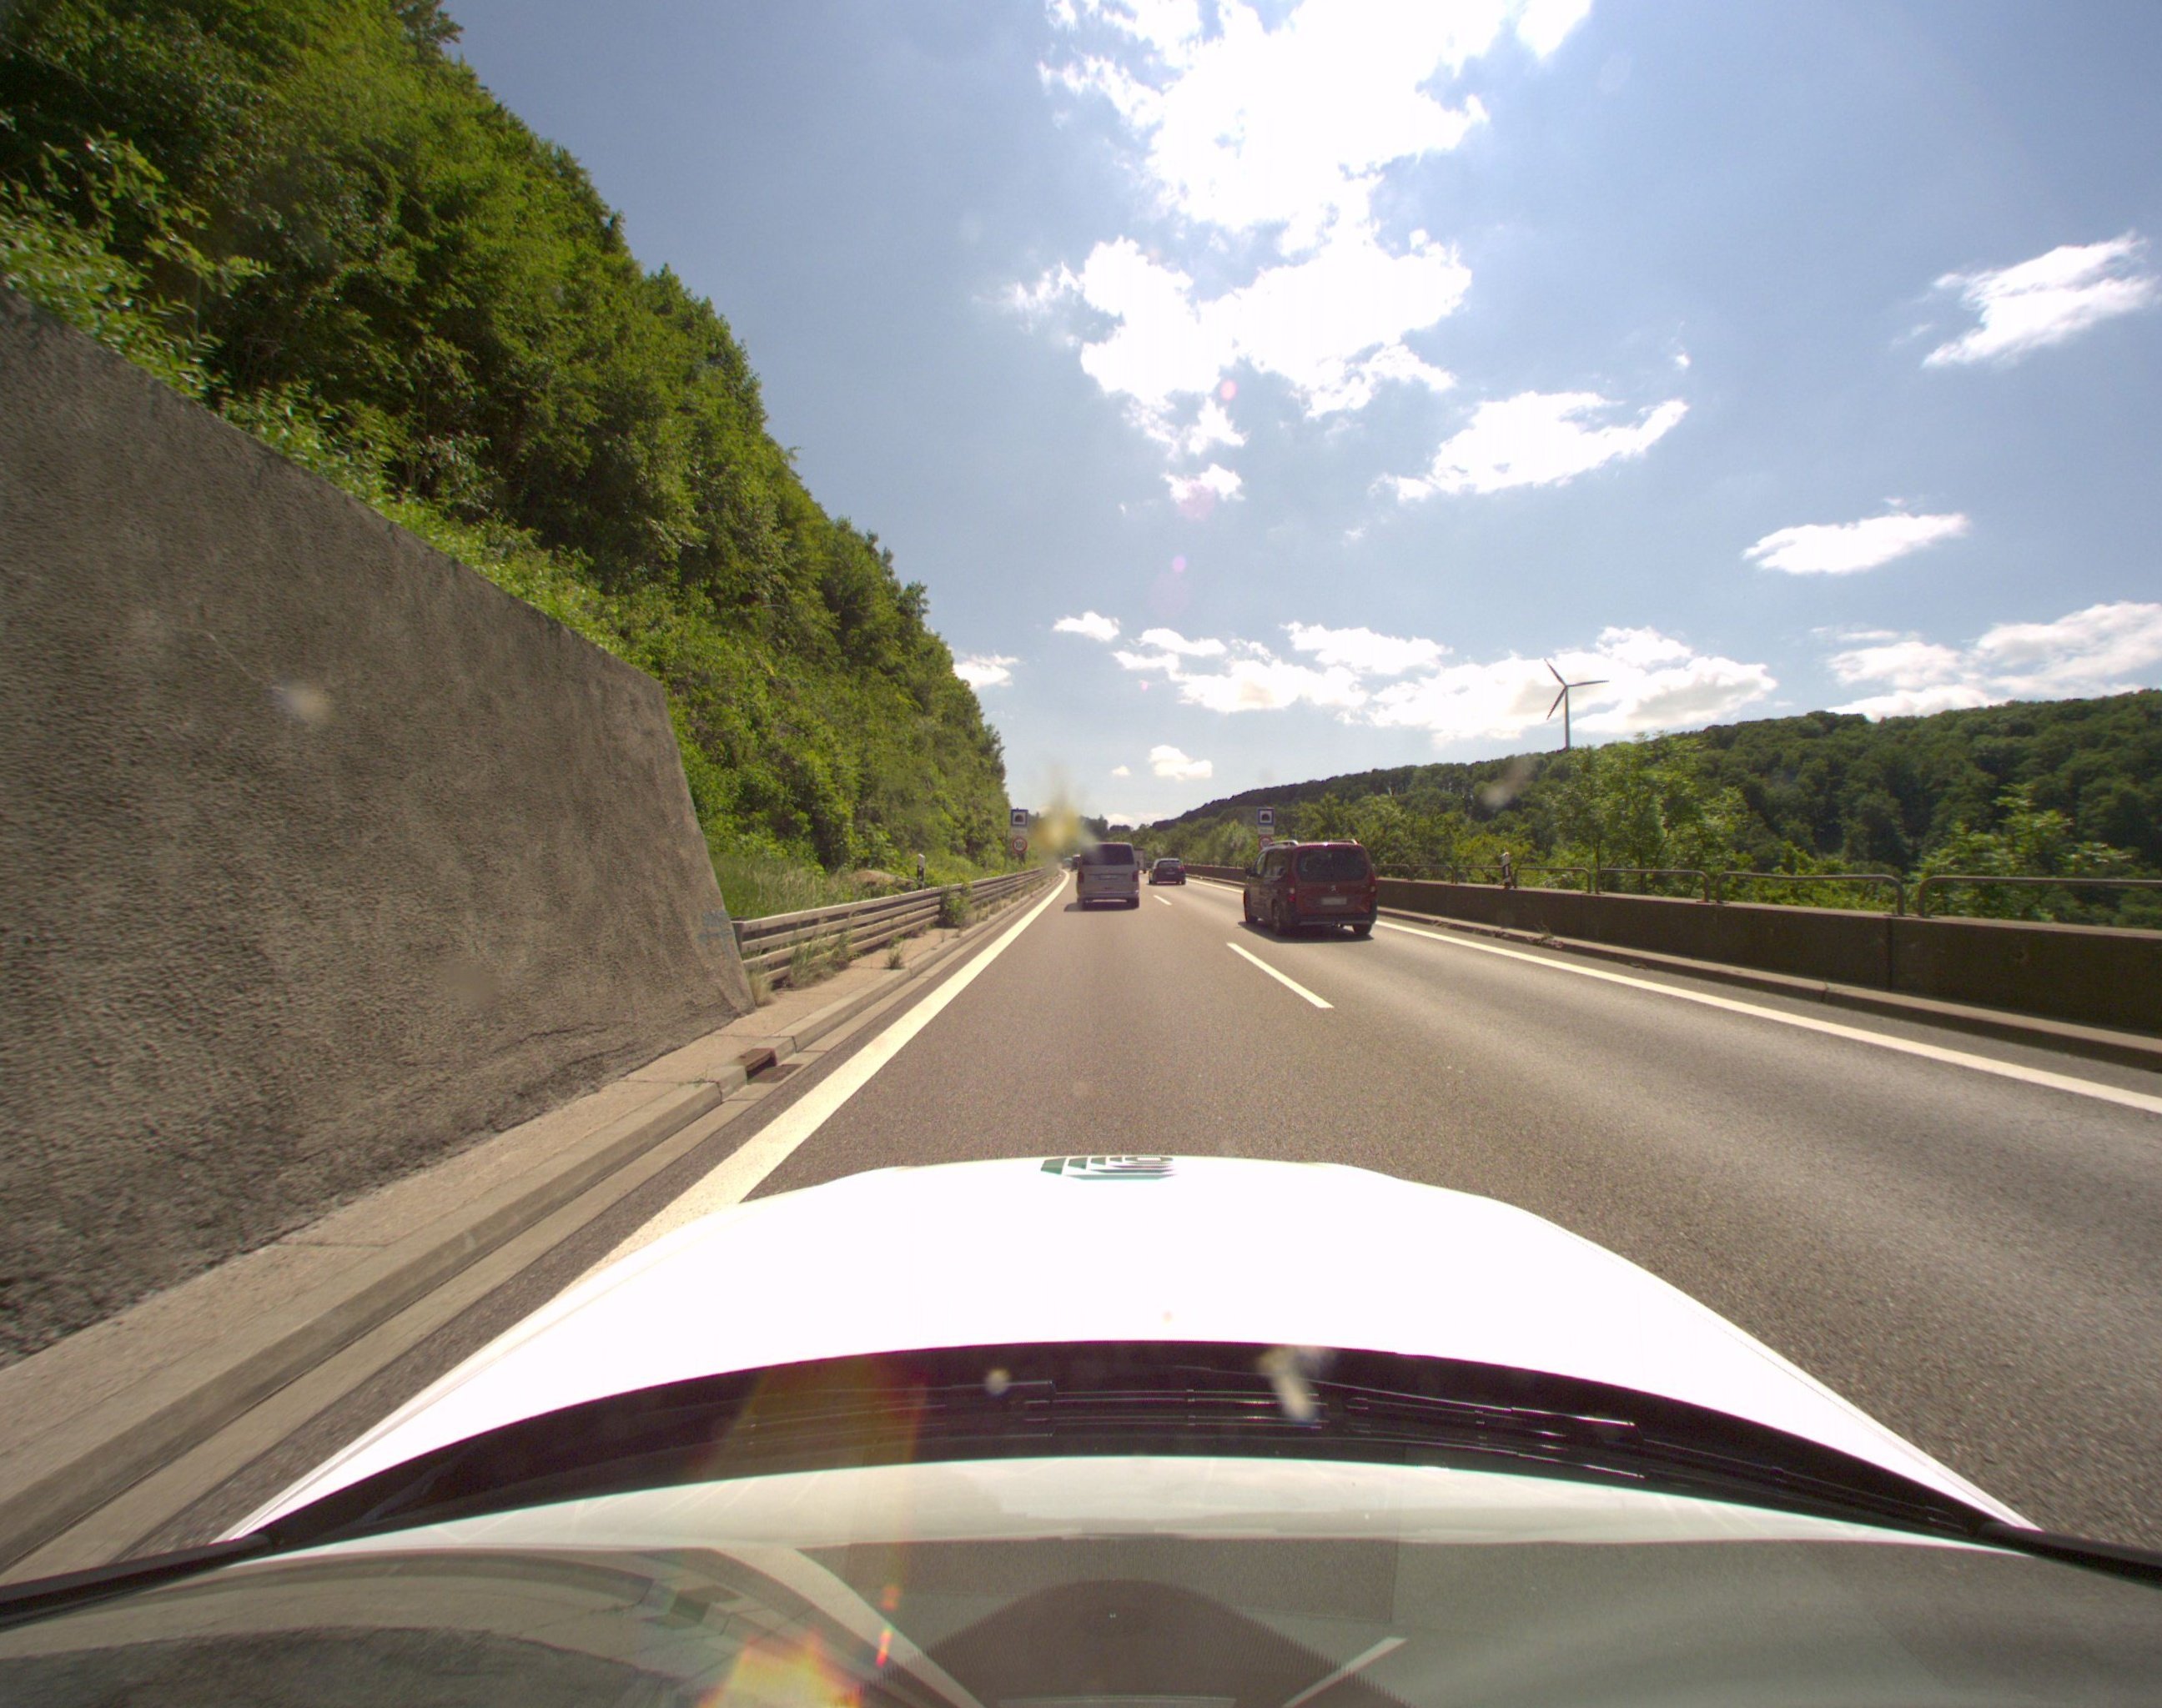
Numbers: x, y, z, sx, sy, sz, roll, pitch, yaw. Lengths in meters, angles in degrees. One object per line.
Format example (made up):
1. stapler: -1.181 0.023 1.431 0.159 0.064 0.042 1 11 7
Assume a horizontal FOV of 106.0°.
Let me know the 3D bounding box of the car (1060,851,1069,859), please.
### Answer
1. car: -3.759 0.246 188.367 1.989 2.014 3.996 -1 0 -3

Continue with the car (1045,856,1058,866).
1. car: -5.467 1.312 150.251 2.138 1.607 5.071 -2 -1 -3

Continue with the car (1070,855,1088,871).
1. car: -0.246 1.035 93.938 1.987 1.817 3.999 -1 0 0

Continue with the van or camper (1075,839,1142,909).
1. van or camper: 0.768 0.592 25.606 1.870 1.949 4.292 -2 -1 -1

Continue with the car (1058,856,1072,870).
1. car: -2.272 1.197 114.798 1.988 1.915 3.998 -1 0 -1

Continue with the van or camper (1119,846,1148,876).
1. van or camper: 4.834 0.650 75.619 2.257 2.551 4.735 -2 -1 0

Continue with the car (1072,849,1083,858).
1. car: -0.734 -0.065 173.179 1.989 2.014 3.995 -1 0 -4

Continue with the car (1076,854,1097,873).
1. car: 0.515 0.885 79.228 1.987 1.817 3.999 -1 0 0

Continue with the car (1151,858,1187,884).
1. car: 4.855 0.927 45.319 1.761 1.376 3.595 -1 0 3

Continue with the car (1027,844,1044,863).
1. car: -11.816 -0.110 210.751 4.036 4.871 10.093 -1 0 -4

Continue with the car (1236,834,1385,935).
1. car: 4.607 0.585 17.124 1.827 1.784 4.676 -1 -1 1
